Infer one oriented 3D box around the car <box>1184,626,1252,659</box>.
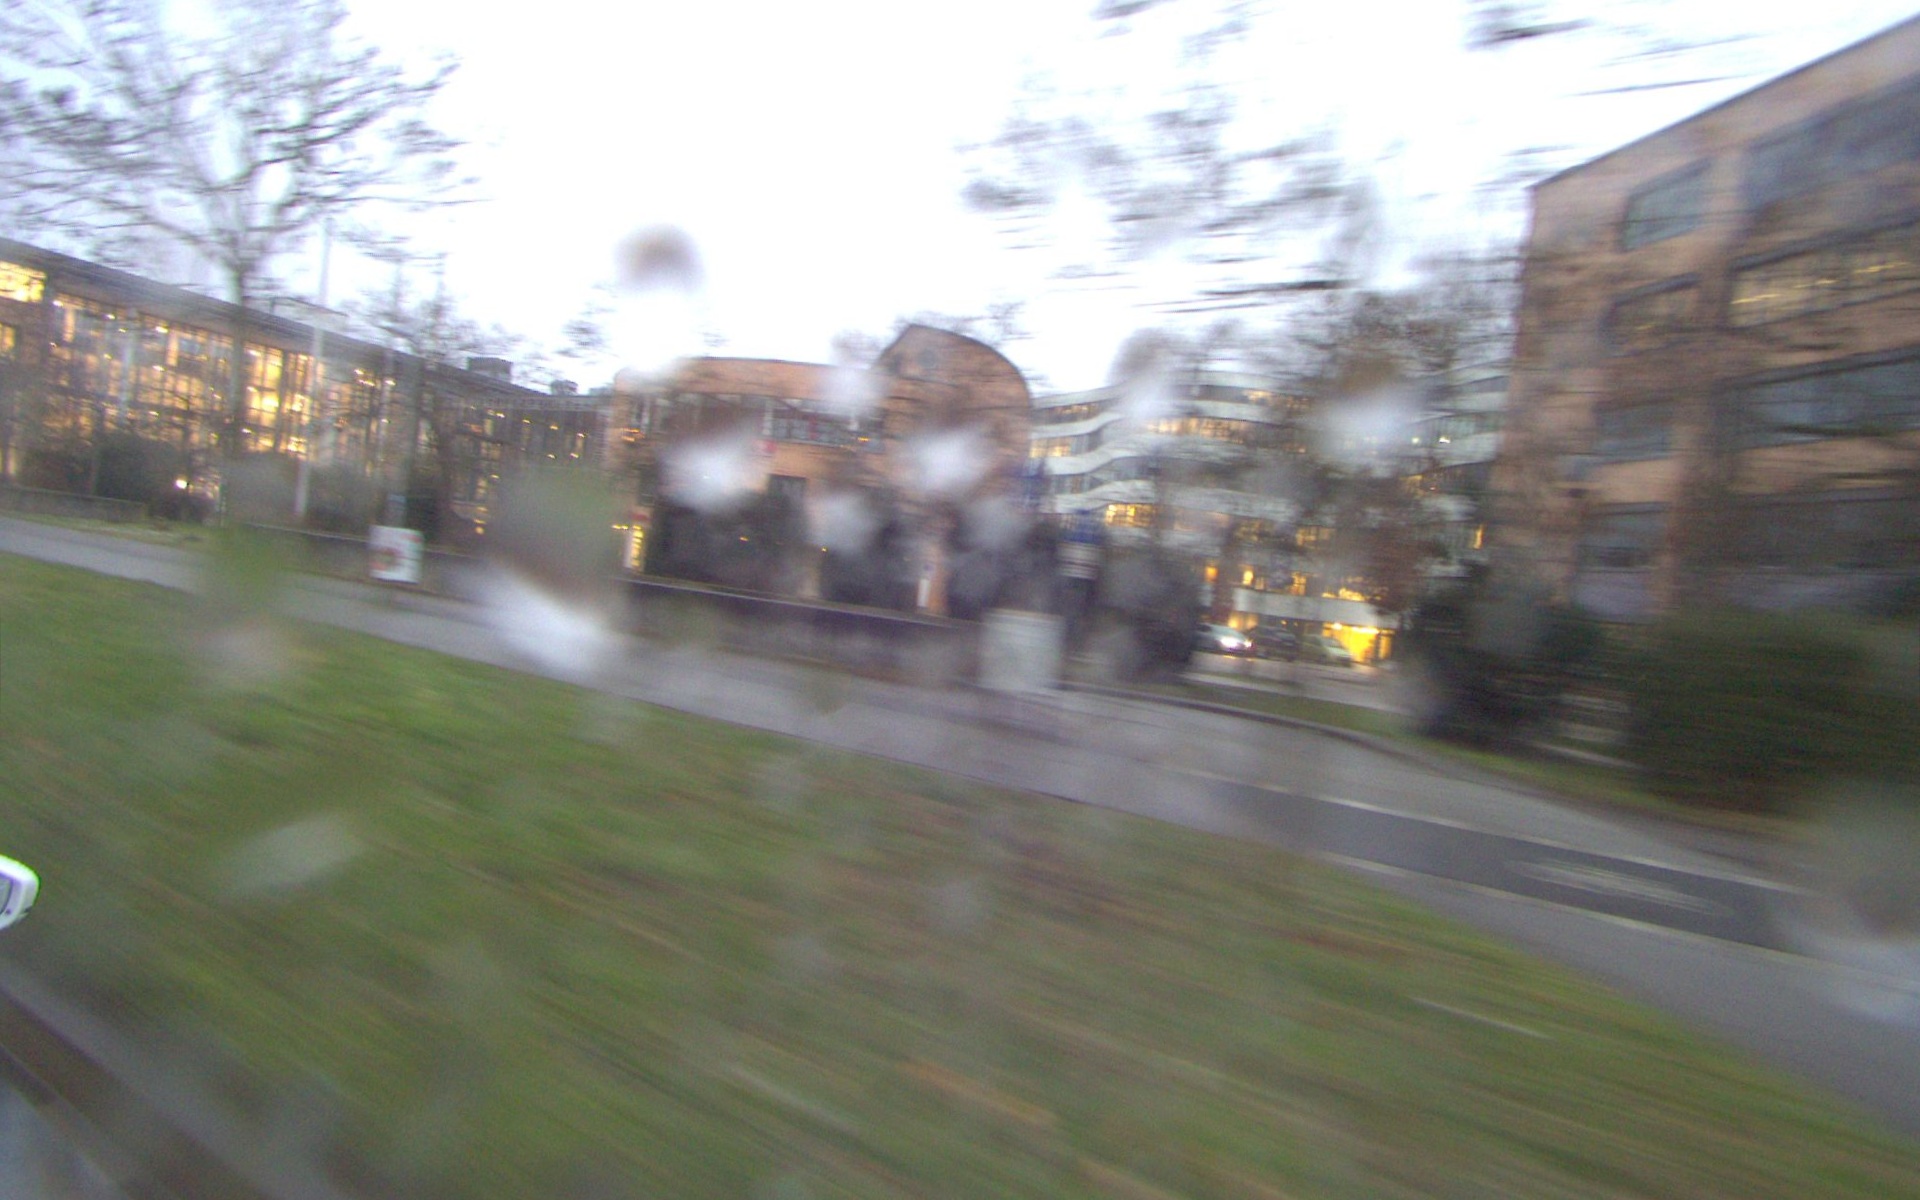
[{"bbox_3d":[13.098,2.130,51.353,1.647,1.195,3.695,7,1,-15],"label":"car"}]
